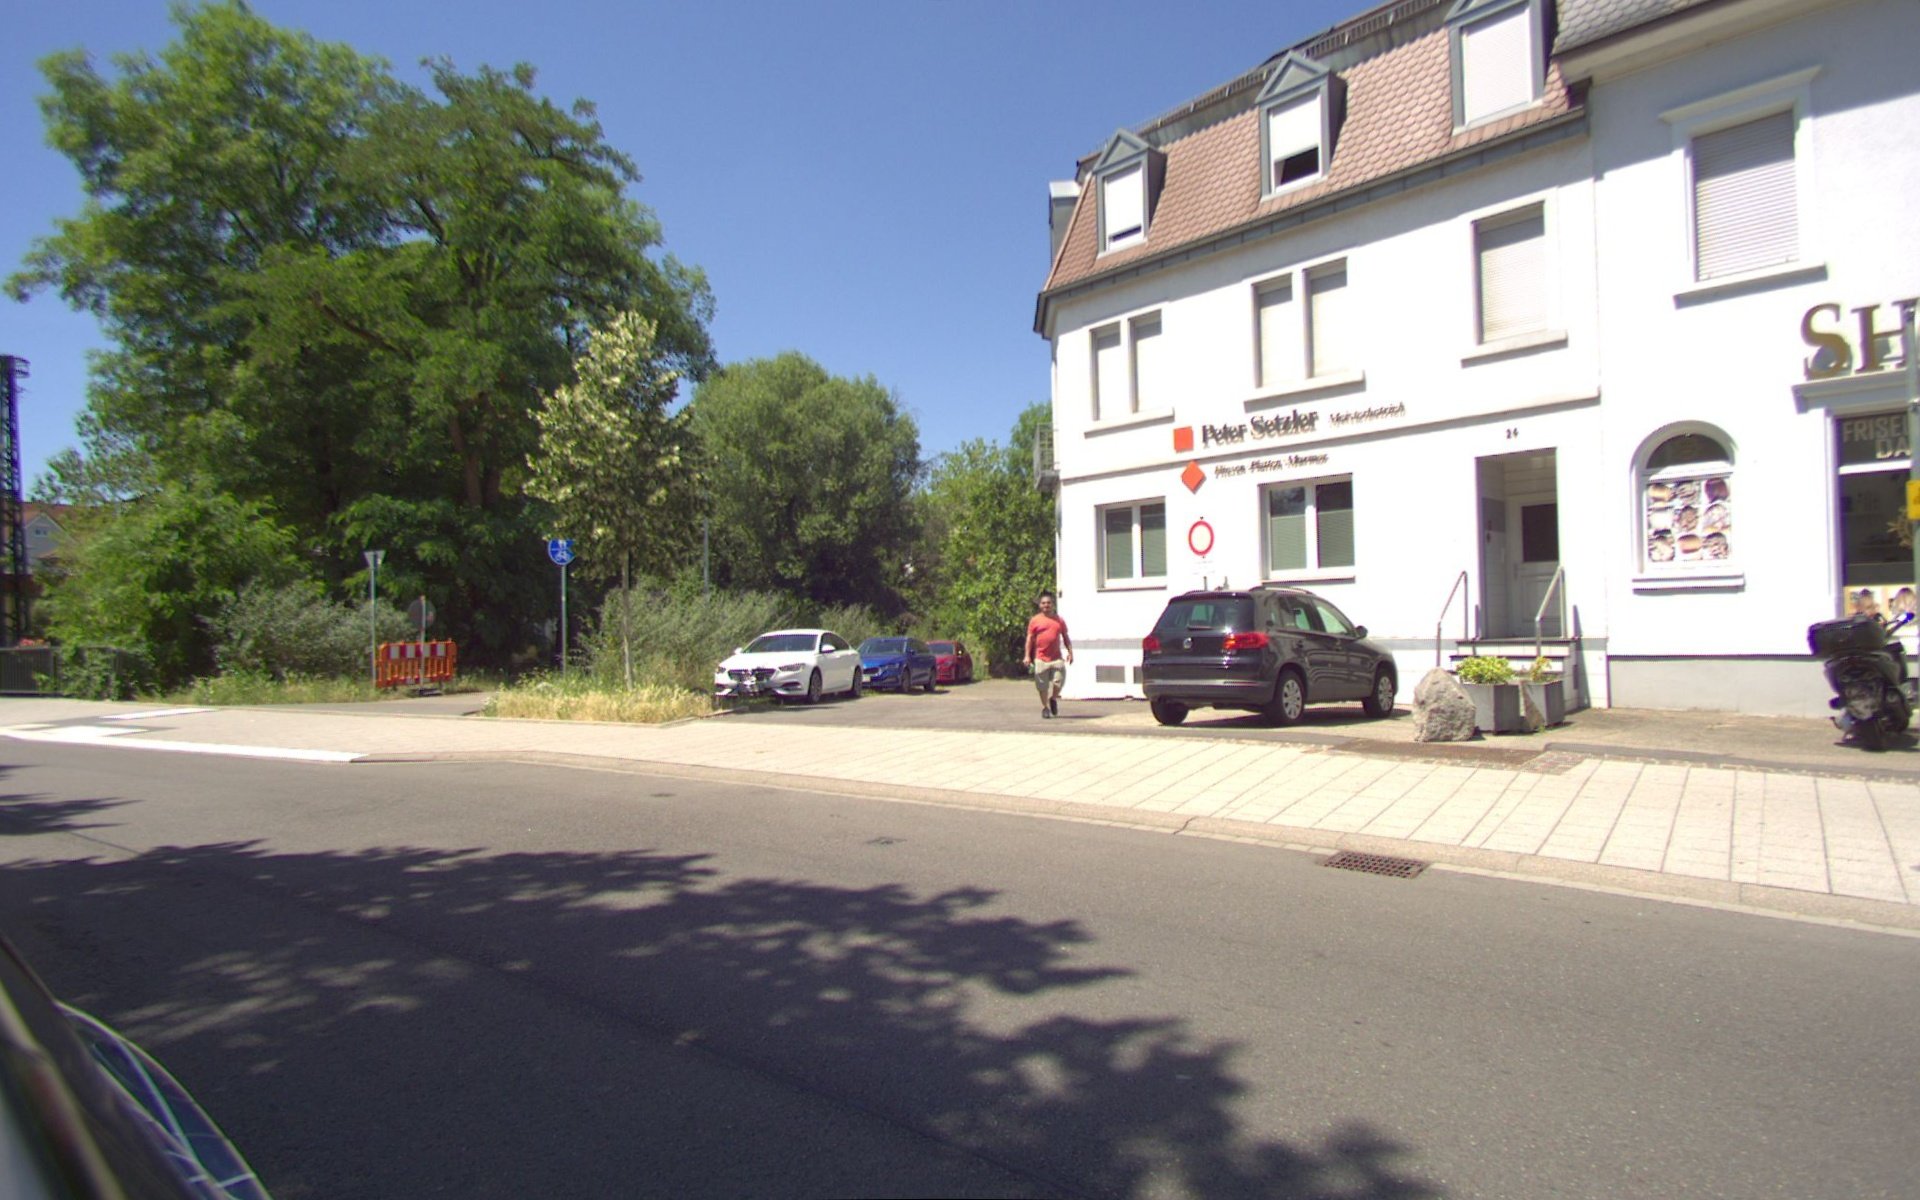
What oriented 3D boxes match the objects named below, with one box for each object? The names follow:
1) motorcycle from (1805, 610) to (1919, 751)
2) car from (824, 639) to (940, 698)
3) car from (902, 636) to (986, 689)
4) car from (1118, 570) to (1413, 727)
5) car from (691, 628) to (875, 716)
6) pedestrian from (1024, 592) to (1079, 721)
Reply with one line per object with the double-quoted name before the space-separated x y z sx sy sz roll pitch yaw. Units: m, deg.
"motorcycle" 9.019 0.718 9.965 2.367 1.227 0.834 0 -1 -45
"car" -1.908 1.733 25.999 1.979 1.355 3.985 0 -3 11
"car" -0.452 1.998 33.153 1.979 1.554 3.986 -1 -1 11
"car" 4.040 0.553 12.996 1.971 1.675 4.134 -2 -2 43
"car" -3.310 1.312 19.963 1.979 1.366 4.691 0 0 12
"pedestrian" 1.282 0.782 14.263 0.729 1.768 0.736 -1 -2 3
